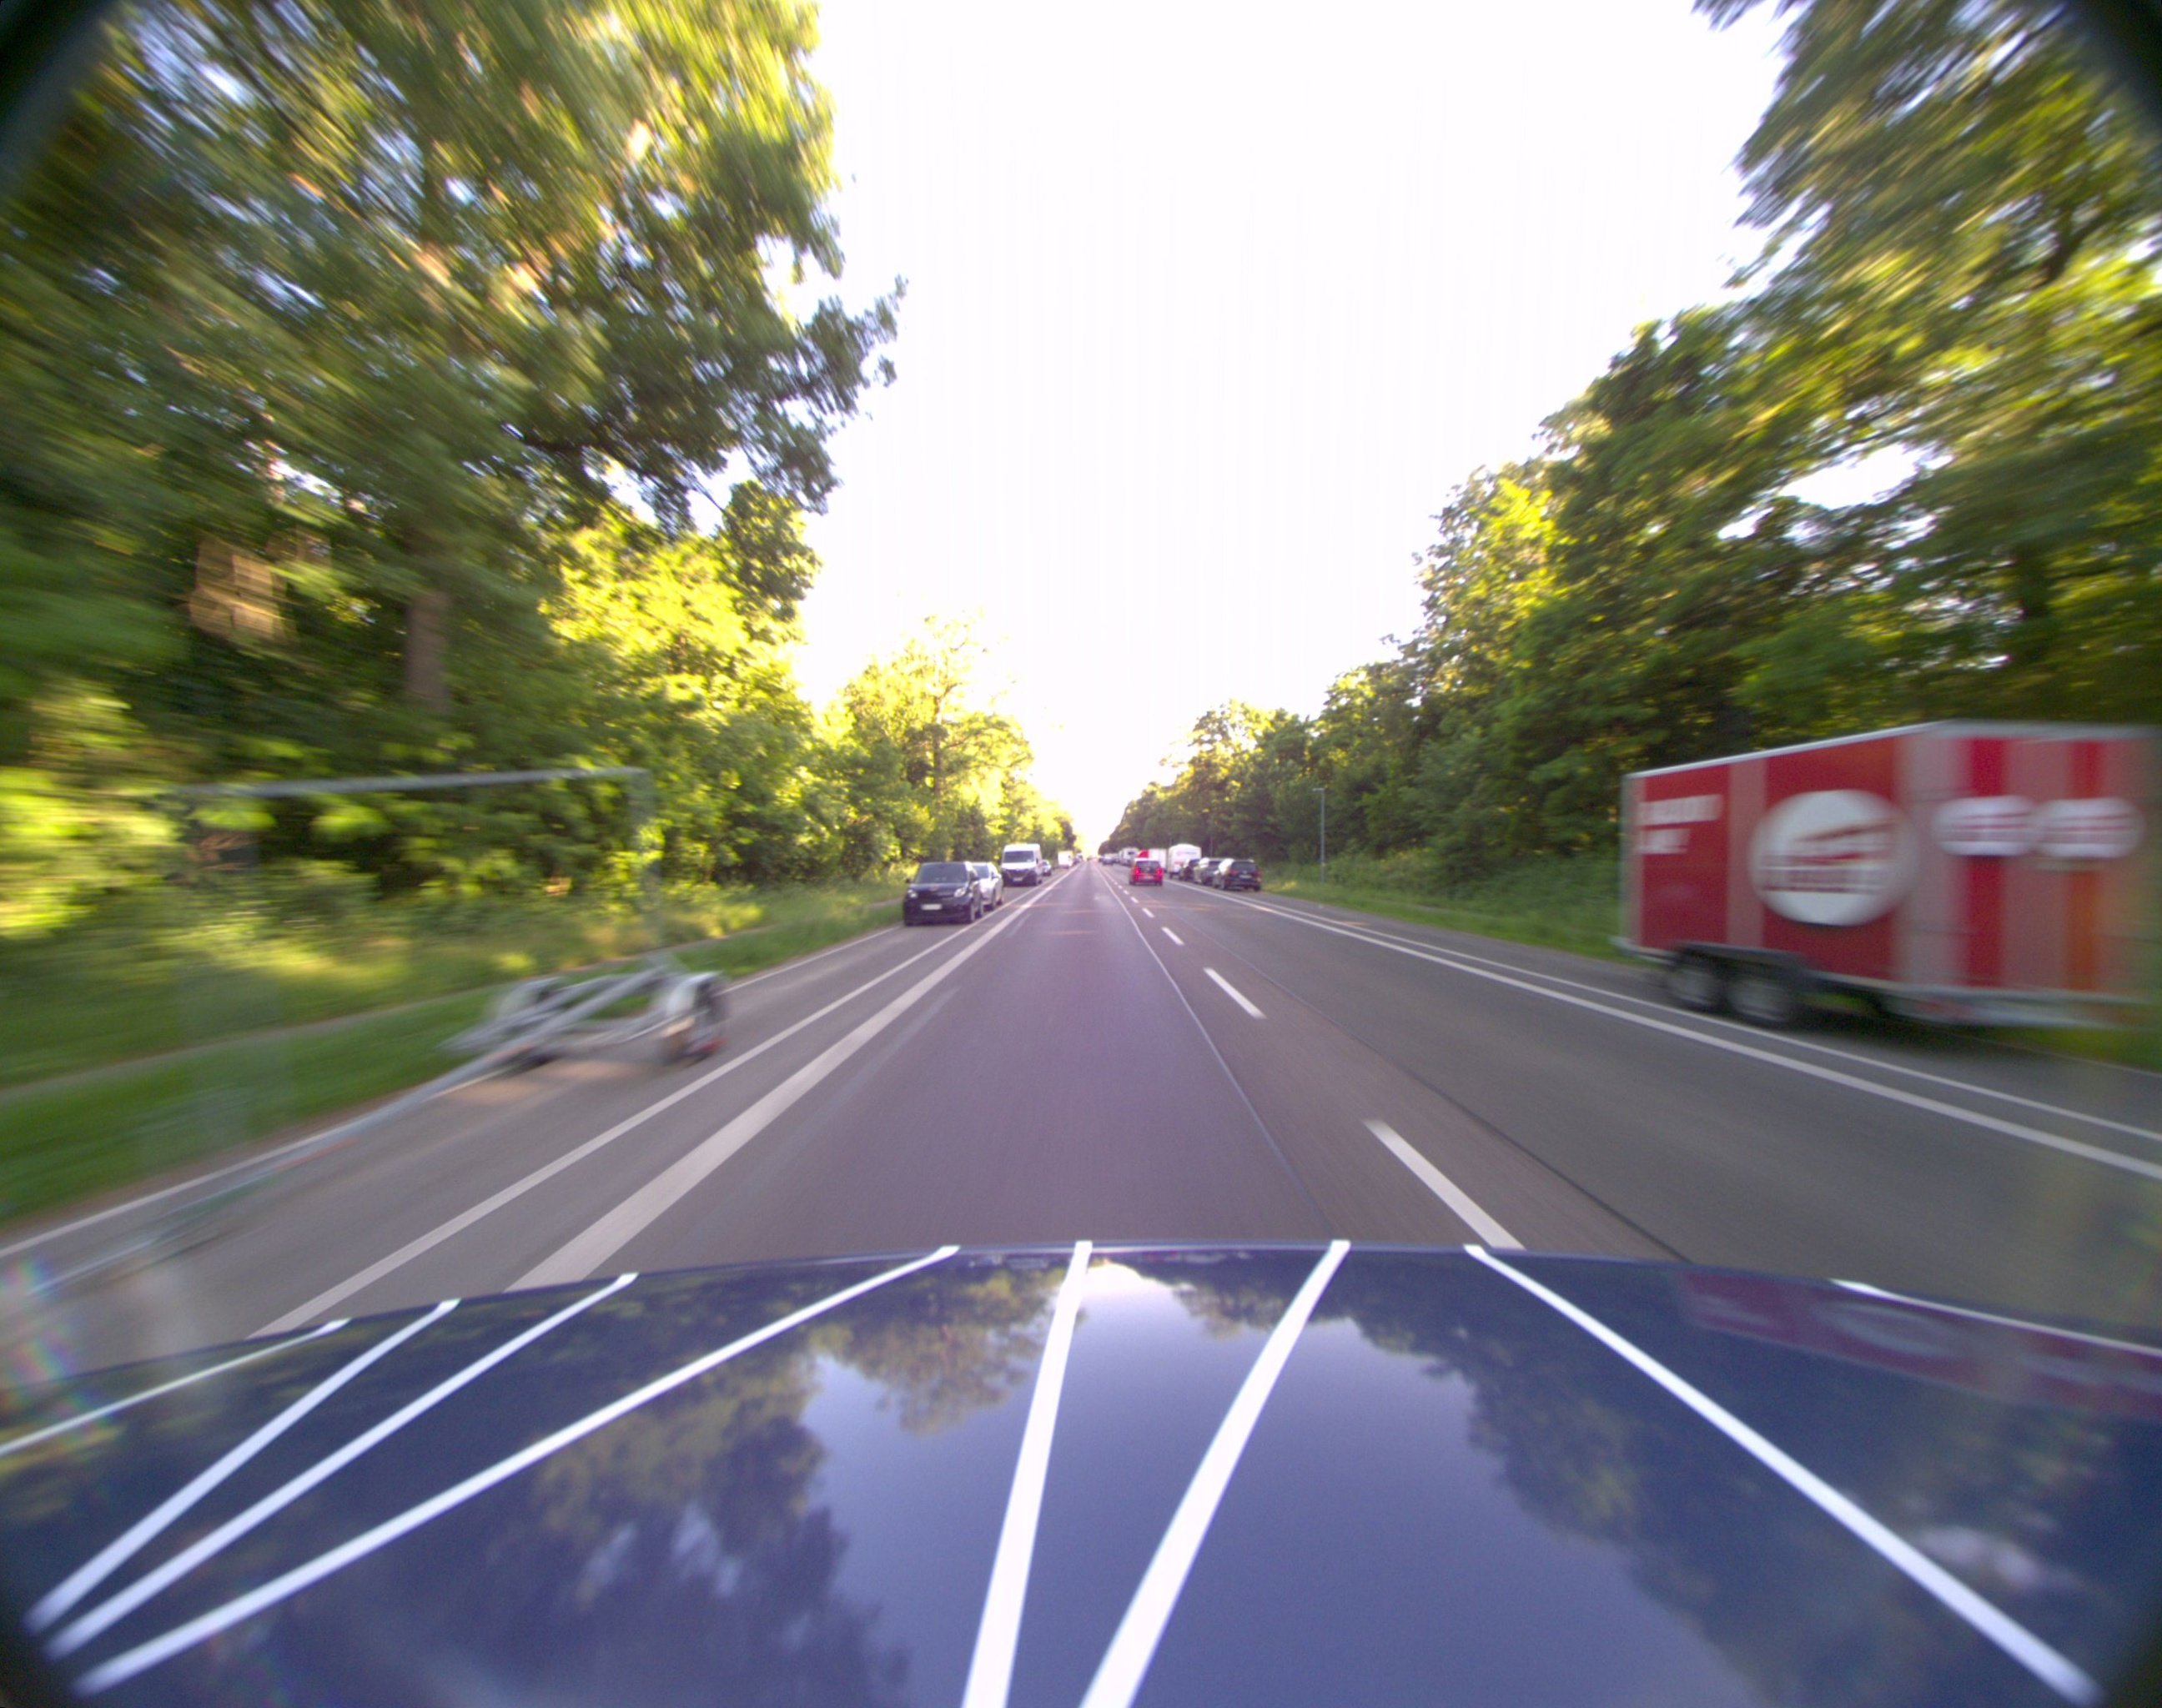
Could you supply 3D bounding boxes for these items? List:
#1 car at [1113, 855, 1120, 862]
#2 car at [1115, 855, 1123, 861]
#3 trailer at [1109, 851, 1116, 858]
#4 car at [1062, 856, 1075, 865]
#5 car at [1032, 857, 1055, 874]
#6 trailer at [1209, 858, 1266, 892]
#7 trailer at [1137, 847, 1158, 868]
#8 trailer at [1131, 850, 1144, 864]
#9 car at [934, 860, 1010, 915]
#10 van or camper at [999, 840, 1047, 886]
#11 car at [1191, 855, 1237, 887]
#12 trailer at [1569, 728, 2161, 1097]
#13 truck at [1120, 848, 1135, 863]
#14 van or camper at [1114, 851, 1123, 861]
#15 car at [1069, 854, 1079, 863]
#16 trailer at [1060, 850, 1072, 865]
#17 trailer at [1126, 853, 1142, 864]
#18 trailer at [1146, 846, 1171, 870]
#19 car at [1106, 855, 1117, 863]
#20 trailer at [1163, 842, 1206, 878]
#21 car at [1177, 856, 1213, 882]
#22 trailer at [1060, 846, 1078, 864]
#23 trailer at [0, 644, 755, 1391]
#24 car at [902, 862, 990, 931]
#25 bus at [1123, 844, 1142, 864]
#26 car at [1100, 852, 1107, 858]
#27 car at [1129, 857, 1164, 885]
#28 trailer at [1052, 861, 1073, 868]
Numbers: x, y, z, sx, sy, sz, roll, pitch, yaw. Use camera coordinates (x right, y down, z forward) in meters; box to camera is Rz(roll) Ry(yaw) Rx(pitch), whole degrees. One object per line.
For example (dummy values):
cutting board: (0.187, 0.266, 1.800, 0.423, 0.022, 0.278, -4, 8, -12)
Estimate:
car: (9.843, 1.178, 210.807, 1.998, 1.797, 4.145, -1, 0, 1)
car: (9.385, 1.030, 187.780, 1.787, 1.485, 4.002, 0, 0, 5)
trailer: (10.100, 0.133, 244.762, 1.998, 2.227, 4.000, -1, 1, 1)
car: (-1.953, 1.007, 119.713, 1.892, 1.459, 4.569, -1, 0, 1)
car: (-3.303, 1.014, 67.737, 1.839, 1.412, 4.596, -3, 0, -2)
trailer: (7.434, 0.964, 36.439, 1.845, 1.457, 4.466, -1, 0, 1)
trailer: (8.104, 0.437, 92.957, 2.072, 2.466, 3.560, 0, 0, -2)
trailer: (8.736, 0.484, 117.726, 1.857, 2.002, 3.561, 2, 0, 1)
car: (-3.358, 0.997, 24.153, 1.739, 1.479, 4.400, -2, 0, 0)
van or camper: (-3.288, 0.503, 44.433, 2.130, 2.468, 6.305, 0, 0, 2)
car: (7.491, 0.901, 43.207, 1.675, 1.565, 5.127, 3, 1, 1)
trailer: (7.048, 0.416, 7.416, 1.998, 2.606, 4.086, 0, 0, 1)
truck: (9.256, 0.302, 151.534, 2.489, 2.807, 8.424, -1, 0, 1)
van or camper: (9.868, 0.517, 199.994, 2.253, 2.599, 5.985, 0, 0, 1)
car: (-1.453, 0.953, 152.678, 1.804, 1.680, 4.601, -1, 0, 1)
trailer: (-2.184, 0.562, 113.774, 1.758, 2.149, 3.539, -1, 0, 0)
trailer: (9.171, 0.729, 131.503, 2.434, 1.903, 6.264, -1, 0, 1)
trailer: (7.986, 0.426, 78.496, 2.072, 2.466, 3.560, 0, 0, -2)
car: (5.656, 0.955, 141.590, 1.824, 1.524, 4.530, 0, 1, 1)
trailer: (7.555, 0.432, 55.935, 2.352, 2.514, 4.343, 0, 0, -2)
car: (7.388, 0.954, 49.481, 1.675, 1.486, 4.194, 3, 1, 1)
trailer: (-2.089, 0.146, 136.385, 2.928, 2.825, 9.882, -3, 0, 0)
trailer: (-3.677, 0.556, 4.547, 1.617, 2.494, 4.000, -1, 1, 1)
car: (-3.315, 1.003, 19.128, 1.590, 1.521, 3.011, -2, 0, 1)
bus: (9.361, -0.054, 140.262, 2.835, 3.411, 11.199, -1, 0, 1)
car: (6.515, 0.236, 217.569, 1.823, 1.577, 4.459, 0, 1, 1)
car: (3.515, 0.902, 41.062, 1.608, 1.412, 3.518, 1, 0, 1)
trailer: (-2.349, 1.333, 99.024, 2.439, 0.794, 5.659, -1, 0, 1)
